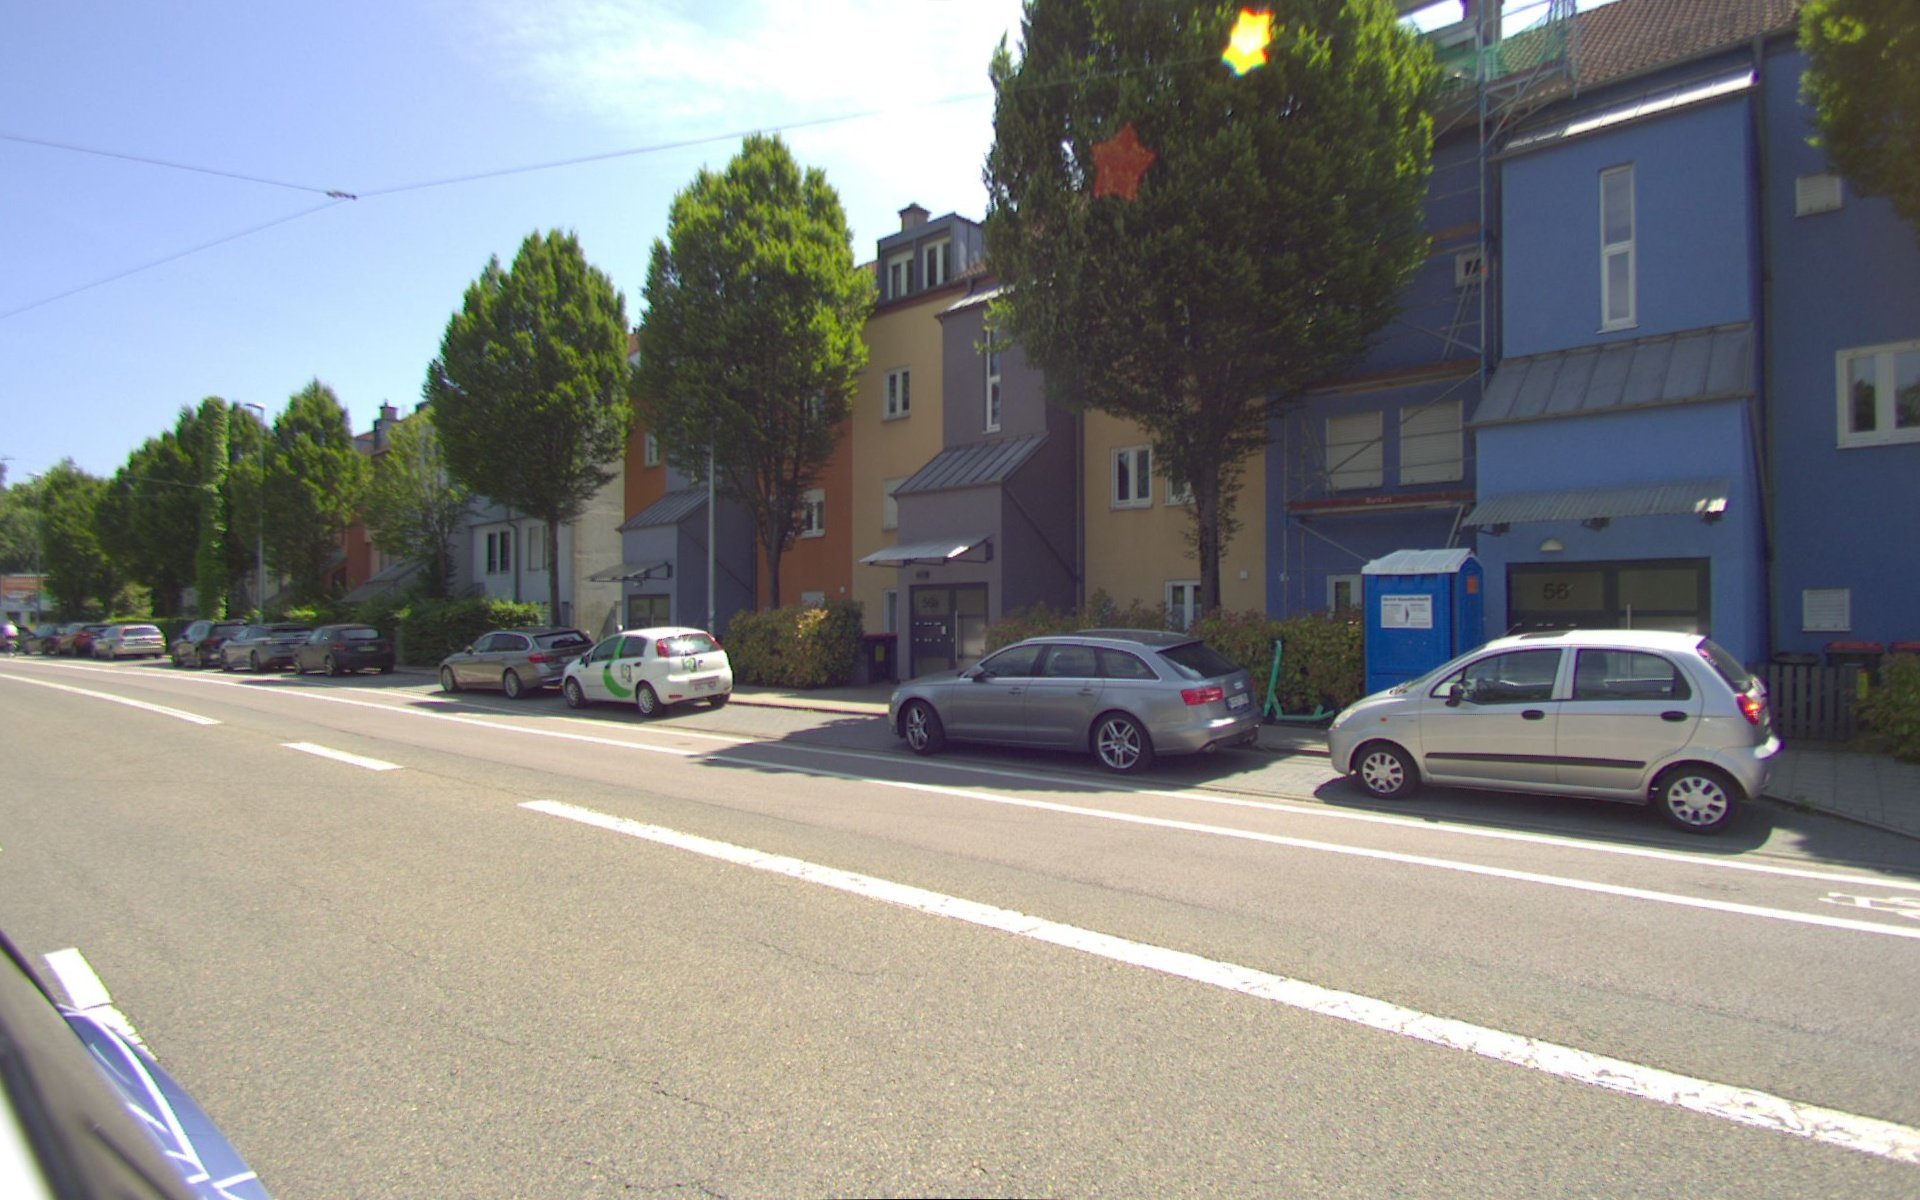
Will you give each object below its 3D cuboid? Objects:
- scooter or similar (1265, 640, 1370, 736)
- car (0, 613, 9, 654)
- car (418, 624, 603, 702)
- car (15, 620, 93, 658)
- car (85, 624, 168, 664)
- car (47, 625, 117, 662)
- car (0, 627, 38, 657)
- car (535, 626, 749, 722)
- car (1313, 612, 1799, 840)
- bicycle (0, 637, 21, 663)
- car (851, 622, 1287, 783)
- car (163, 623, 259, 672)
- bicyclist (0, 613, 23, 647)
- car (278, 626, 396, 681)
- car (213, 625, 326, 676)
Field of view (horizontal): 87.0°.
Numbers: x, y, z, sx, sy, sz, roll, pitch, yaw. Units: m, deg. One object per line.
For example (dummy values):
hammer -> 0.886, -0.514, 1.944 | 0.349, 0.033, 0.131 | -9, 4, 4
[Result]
scooter or similar -> 4.564, 1.103, 12.964 | 1.183, 1.154, 0.449 | -2, -2, 43
car -> -57.587, 2.015, 58.738 | 5.213, 2.325, 2.260 | -2, 0, 33
car -> -10.162, 1.358, 22.726 | 4.744, 1.440, 1.688 | -2, 3, 38
car -> -45.115, 1.926, 50.372 | 4.549, 1.808, 1.976 | -1, -1, 36
car -> -36.124, 1.880, 43.821 | 4.490, 1.594, 1.822 | -2, 0, 38
car -> -40.967, 2.008, 47.210 | 3.673, 1.606, 1.586 | -2, 0, 35
car -> -52.366, 2.308, 55.513 | 4.135, 1.549, 1.848 | -2, 0, 36
car -> -6.078, 1.305, 19.087 | 4.418, 1.453, 1.728 | -2, 3, 41
car -> 5.144, 0.943, 8.949 | 3.447, 1.506, 1.577 | -2, 3, 41
bicycle -> -43.212, 2.269, 45.945 | 1.638, 1.104, 0.633 | 0, -3, 42
car -> 1.114, 1.106, 12.332 | 5.129, 1.461, 1.769 | -2, 2, 40
car -> -27.257, 1.700, 36.787 | 4.142, 1.601, 1.750 | -2, 0, 38
bicyclist -> -43.177, 1.357, 45.989 | 0.736, 1.516, 0.728 | 0, -3, 42
car -> -18.481, 1.525, 29.972 | 4.254, 1.443, 1.732 | -1, 0, 40
car -> -22.690, 1.623, 33.178 | 4.752, 1.507, 1.807 | -2, 0, 40
